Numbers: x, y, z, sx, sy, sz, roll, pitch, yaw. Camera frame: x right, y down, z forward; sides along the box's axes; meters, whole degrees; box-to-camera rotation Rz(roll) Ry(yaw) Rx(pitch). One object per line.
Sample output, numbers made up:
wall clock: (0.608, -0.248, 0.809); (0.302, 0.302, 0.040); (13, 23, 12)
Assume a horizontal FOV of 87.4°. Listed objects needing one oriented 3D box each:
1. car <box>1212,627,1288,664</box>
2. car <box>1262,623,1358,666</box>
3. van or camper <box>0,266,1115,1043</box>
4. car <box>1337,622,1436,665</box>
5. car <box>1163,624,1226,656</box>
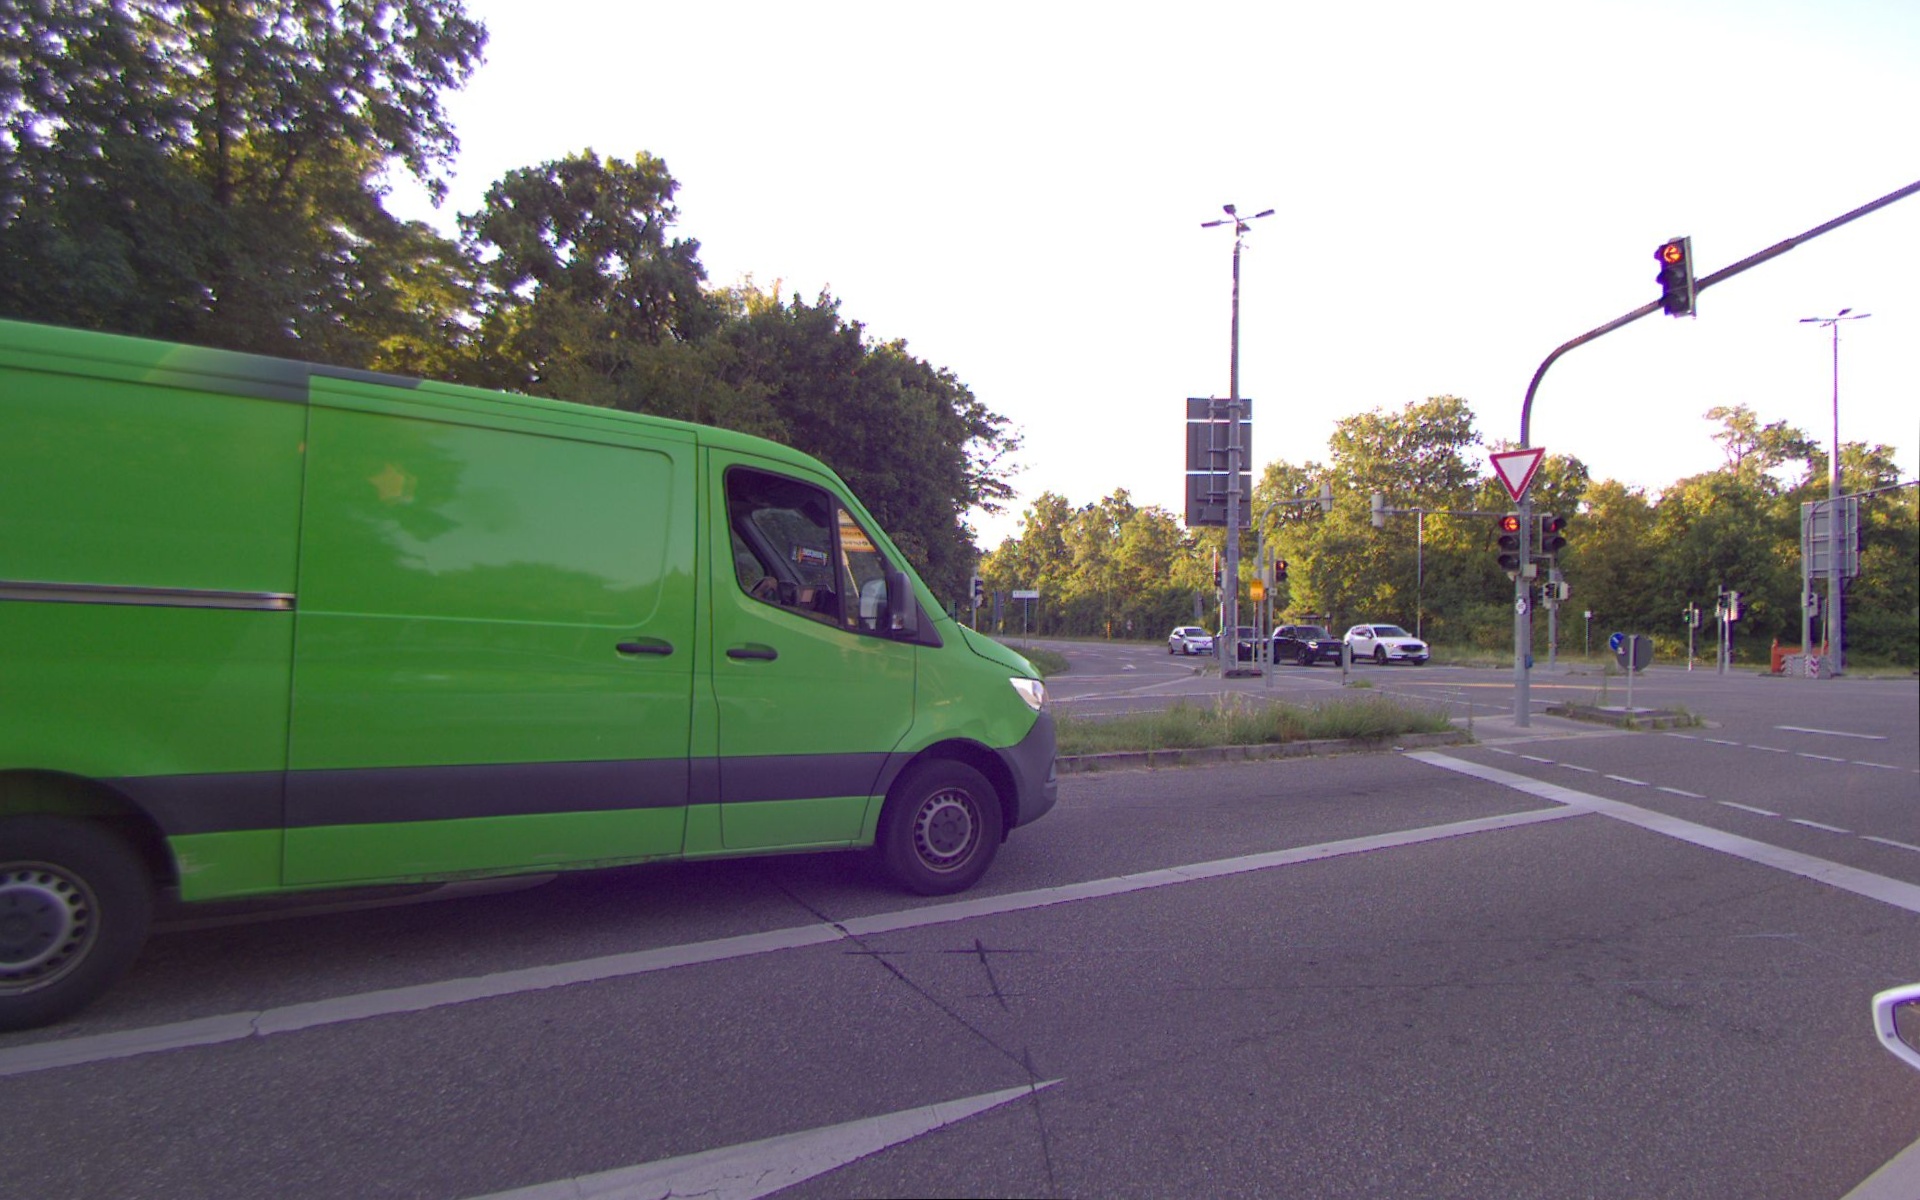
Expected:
car: (13.862, 2.168, 48.247); (1.963, 1.661, 4.252); (1, -1, -8)
car: (14.166, 1.763, 40.898); (1.963, 1.661, 4.252); (1, -1, -8)
van or camper: (-2.134, 0.222, 4.897); (5.829, 2.453, 1.983); (1, -1, -32)
car: (17.854, 1.791, 42.302); (1.963, 1.661, 4.252); (1, -1, -8)
car: (13.072, 2.217, 56.298); (1.964, 1.661, 4.250); (1, -1, -10)
